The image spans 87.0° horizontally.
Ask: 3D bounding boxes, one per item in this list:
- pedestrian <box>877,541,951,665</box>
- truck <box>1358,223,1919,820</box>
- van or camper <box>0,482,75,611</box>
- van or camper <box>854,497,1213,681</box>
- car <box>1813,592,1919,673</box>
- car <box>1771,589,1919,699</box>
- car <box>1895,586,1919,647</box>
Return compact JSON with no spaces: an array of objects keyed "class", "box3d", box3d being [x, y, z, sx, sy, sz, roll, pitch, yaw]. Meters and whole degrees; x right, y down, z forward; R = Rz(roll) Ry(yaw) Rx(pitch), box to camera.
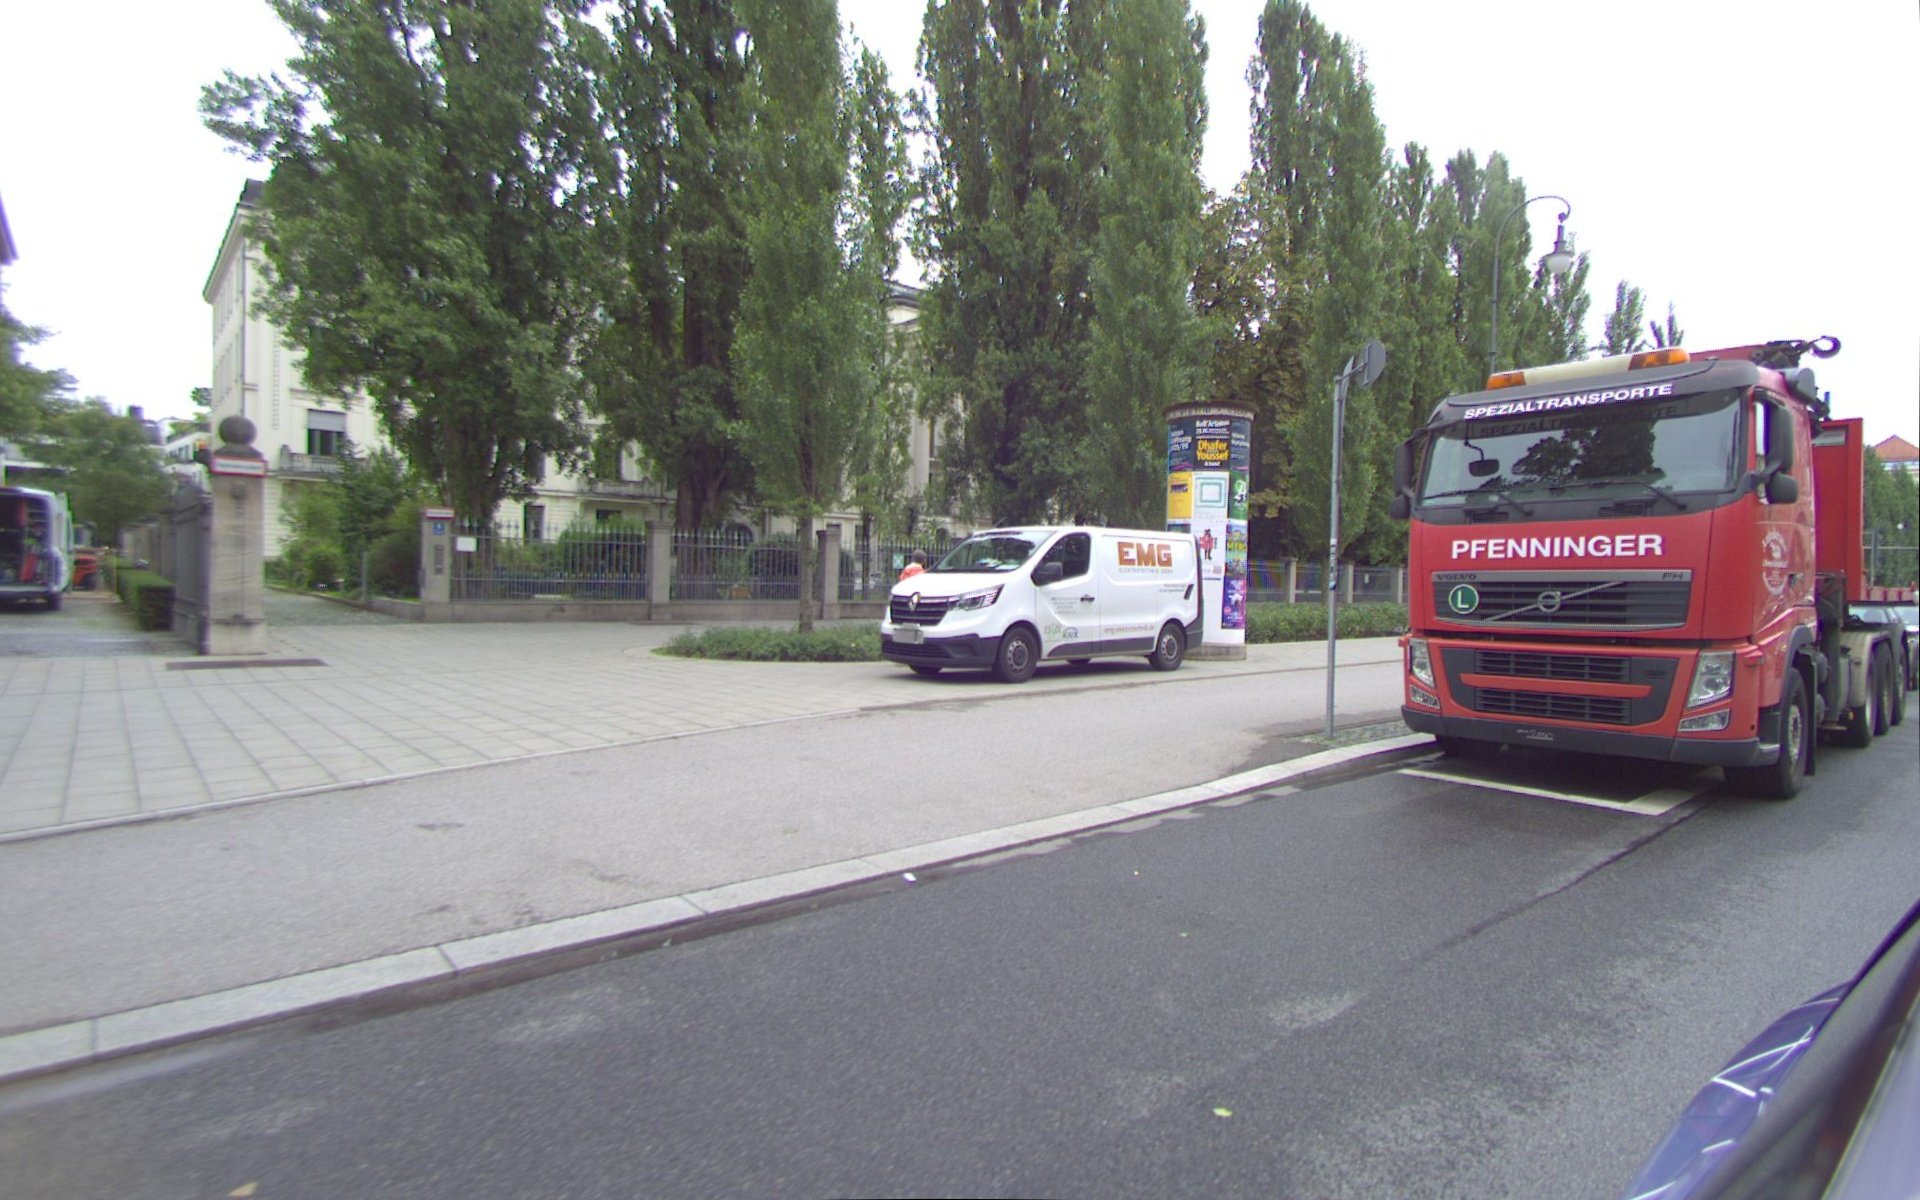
[{"class":"pedestrian","box3d":[-0.657,0.025,14.520,0.742,1.715,0.718,1,1,-41]},{"class":"truck","box3d":[7.967,-0.500,10.577,10.102,3.609,2.849,0,1,-42]},{"class":"van or camper","box3d":[-22.009,-1.237,23.397,2.210,2.739,5.220,0,2,-40]},{"class":"van or camper","box3d":[1.151,-0.135,13.607,4.901,2.039,2.006,0,1,-43]},{"class":"car","box3d":[18.468,0.594,20.002,4.362,1.409,1.845,0,2,-42]},{"class":"car","box3d":[14.069,0.604,15.837,3.590,1.487,1.563,0,2,-42]},{"class":"car","box3d":[28.022,0.471,28.844,1.843,1.627,4.298,3,2,44]}]
